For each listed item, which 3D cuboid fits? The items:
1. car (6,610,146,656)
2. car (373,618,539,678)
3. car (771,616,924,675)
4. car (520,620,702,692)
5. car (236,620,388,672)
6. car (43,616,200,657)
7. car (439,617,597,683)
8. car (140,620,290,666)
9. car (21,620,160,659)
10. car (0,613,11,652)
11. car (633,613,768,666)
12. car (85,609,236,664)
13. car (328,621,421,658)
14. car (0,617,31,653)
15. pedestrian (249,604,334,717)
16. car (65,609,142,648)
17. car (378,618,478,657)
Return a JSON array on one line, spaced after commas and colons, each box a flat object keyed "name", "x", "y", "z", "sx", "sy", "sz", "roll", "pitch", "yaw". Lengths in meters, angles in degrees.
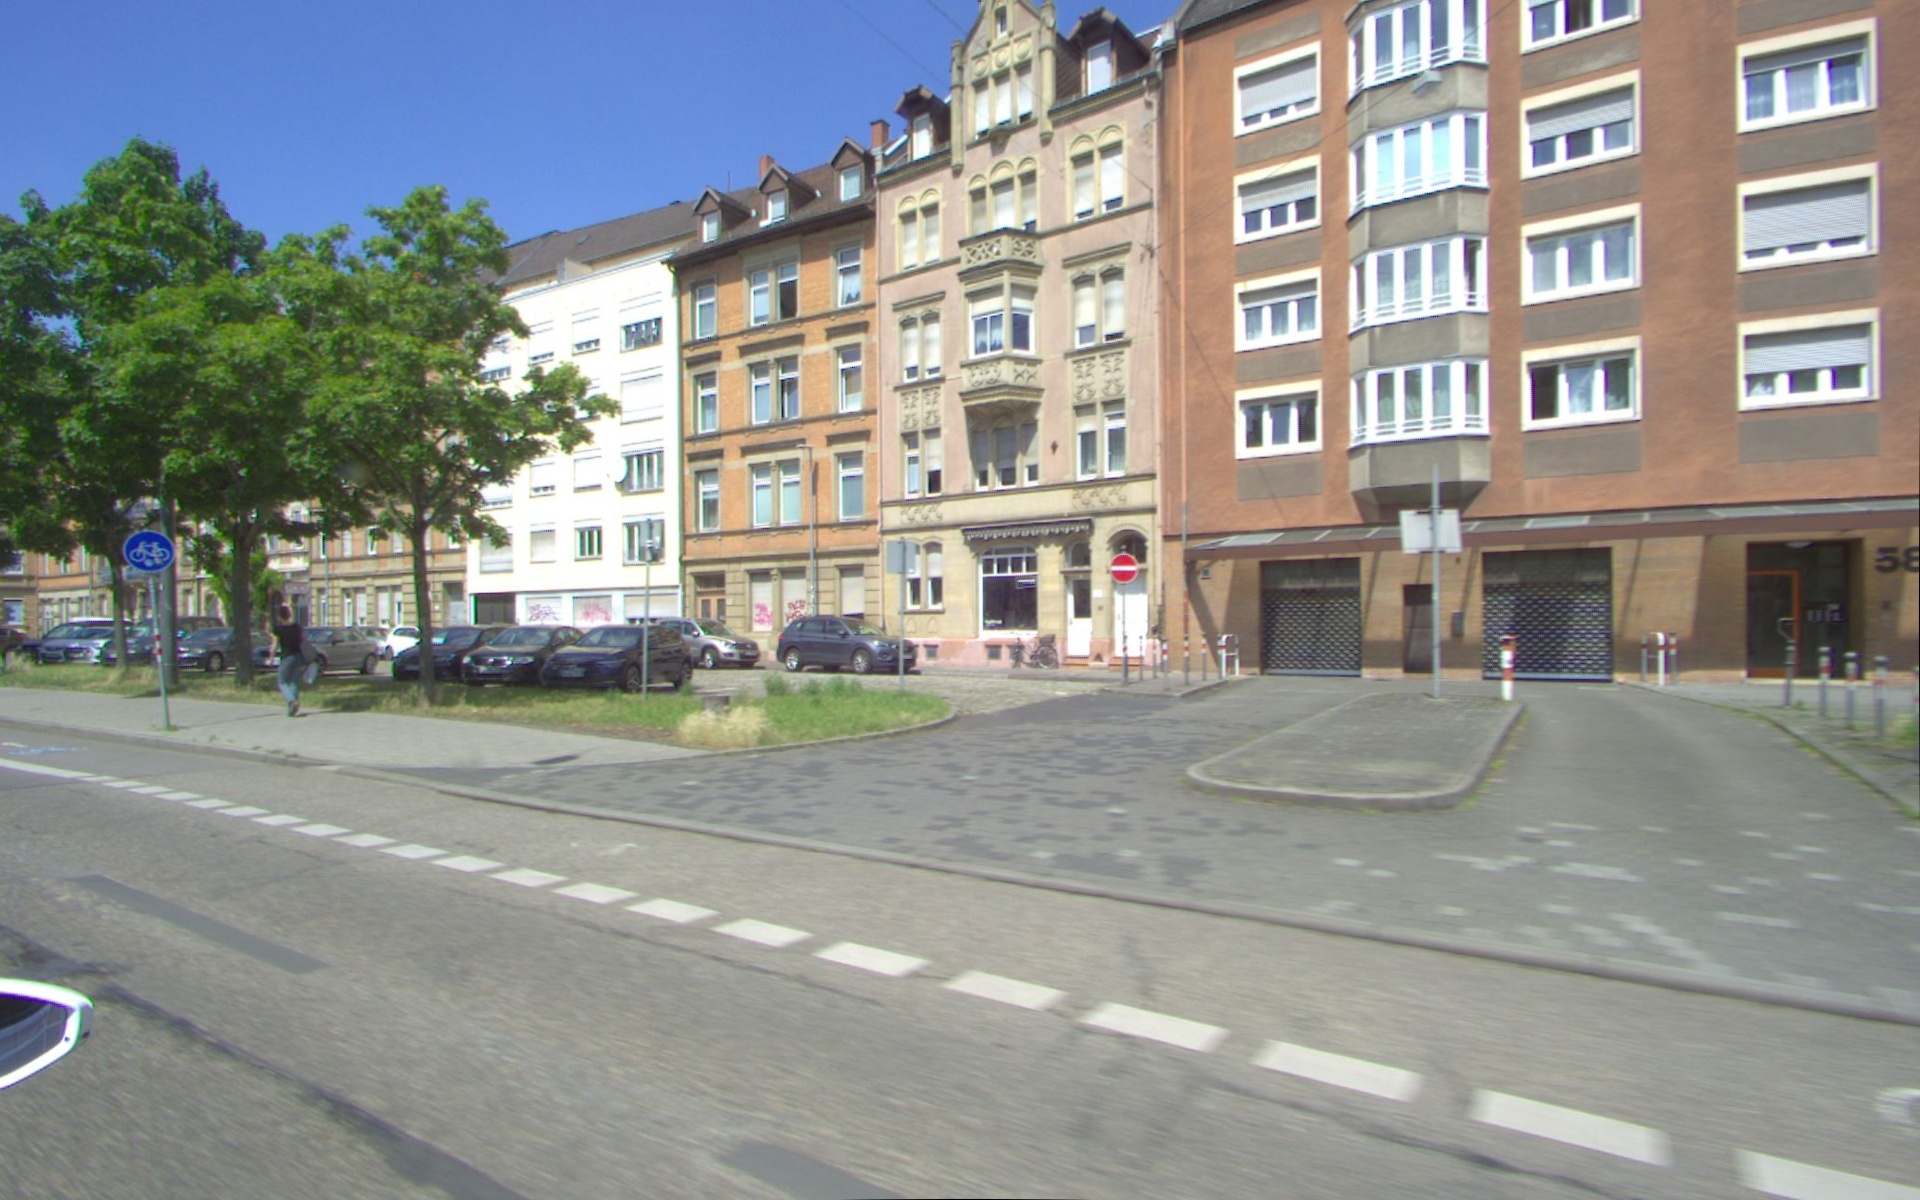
[{"name": "car", "x": -35.381, "y": 1.348, "z": 40.234, "sx": 1.816, "sy": 1.763, "sz": 4.152, "roll": 0, "pitch": -2, "yaw": 2}, {"name": "car", "x": -12.541, "y": 1.200, "z": 25.245, "sx": 1.923, "sy": 1.397, "sz": 4.002, "roll": 0, "pitch": -2, "yaw": 5}, {"name": "car", "x": -3.339, "y": 1.327, "z": 29.457, "sx": 4.437, "sy": 1.636, "sz": 1.827, "roll": -2, "pitch": -2, "yaw": 36}, {"name": "car", "x": -7.259, "y": 1.157, "z": 21.300, "sx": 1.924, "sy": 1.371, "sz": 4.000, "roll": 0, "pitch": -2, "yaw": 10}, {"name": "car", "x": -18.608, "y": 1.332, "z": 29.022, "sx": 1.816, "sy": 1.397, "sz": 4.271, "roll": 0, "pitch": -2, "yaw": -3}, {"name": "car", "x": -30.328, "y": 1.351, "z": 36.454, "sx": 1.816, "sy": 1.397, "sz": 4.696, "roll": 0, "pitch": -2, "yaw": -1}, {"name": "car", "x": -10.195, "y": 1.151, "z": 23.465, "sx": 1.923, "sy": 1.397, "sz": 4.002, "roll": 0, "pitch": -2, "yaw": 0}, {"name": "car", "x": -23.952, "y": 1.389, "z": 32.393, "sx": 1.816, "sy": 1.397, "sz": 4.271, "roll": 0, "pitch": -2, "yaw": -3}, {"name": "car", "x": -32.994, "y": 1.510, "z": 38.166, "sx": 1.816, "sy": 1.423, "sz": 4.087, "roll": 0, "pitch": -2, "yaw": -2}, {"name": "car", "x": -48.670, "y": 1.544, "z": 47.962, "sx": 1.879, "sy": 1.951, "sz": 4.633, "roll": 0, "pitch": -2, "yaw": 2}, {"name": "car", "x": -8.551, "y": 1.314, "z": 32.885, "sx": 4.433, "sy": 1.636, "sz": 1.828, "roll": -1, "pitch": -2, "yaw": 33}, {"name": "car", "x": -27.178, "y": 1.255, "z": 34.262, "sx": 1.816, "sy": 1.763, "sz": 4.368, "roll": 0, "pitch": -2, "yaw": -3}, {"name": "car", "x": -25.382, "y": 1.721, "z": 43.404, "sx": 4.168, "sy": 1.510, "sz": 1.829, "roll": -1, "pitch": -2, "yaw": 33}, {"name": "car", "x": -46.131, "y": 1.619, "z": 46.460, "sx": 1.879, "sy": 1.677, "sz": 4.176, "roll": 0, "pitch": -2, "yaw": 6}, {"name": "pedestrian", "x": -10.763, "y": 0.949, "z": 16.121, "sx": 1.030, "sy": 1.728, "sz": 0.698, "roll": -1, "pitch": 3, "yaw": 32}, {"name": "car", "x": -50.881, "y": 1.714, "z": 59.468, "sx": 5.319, "sy": 2.206, "sz": 2.107, "roll": -1, "pitch": -2, "yaw": 33}, {"name": "car", "x": -21.632, "y": 1.544, "z": 40.701, "sx": 4.168, "sy": 1.510, "sz": 1.829, "roll": -1, "pitch": -2, "yaw": 33}]
